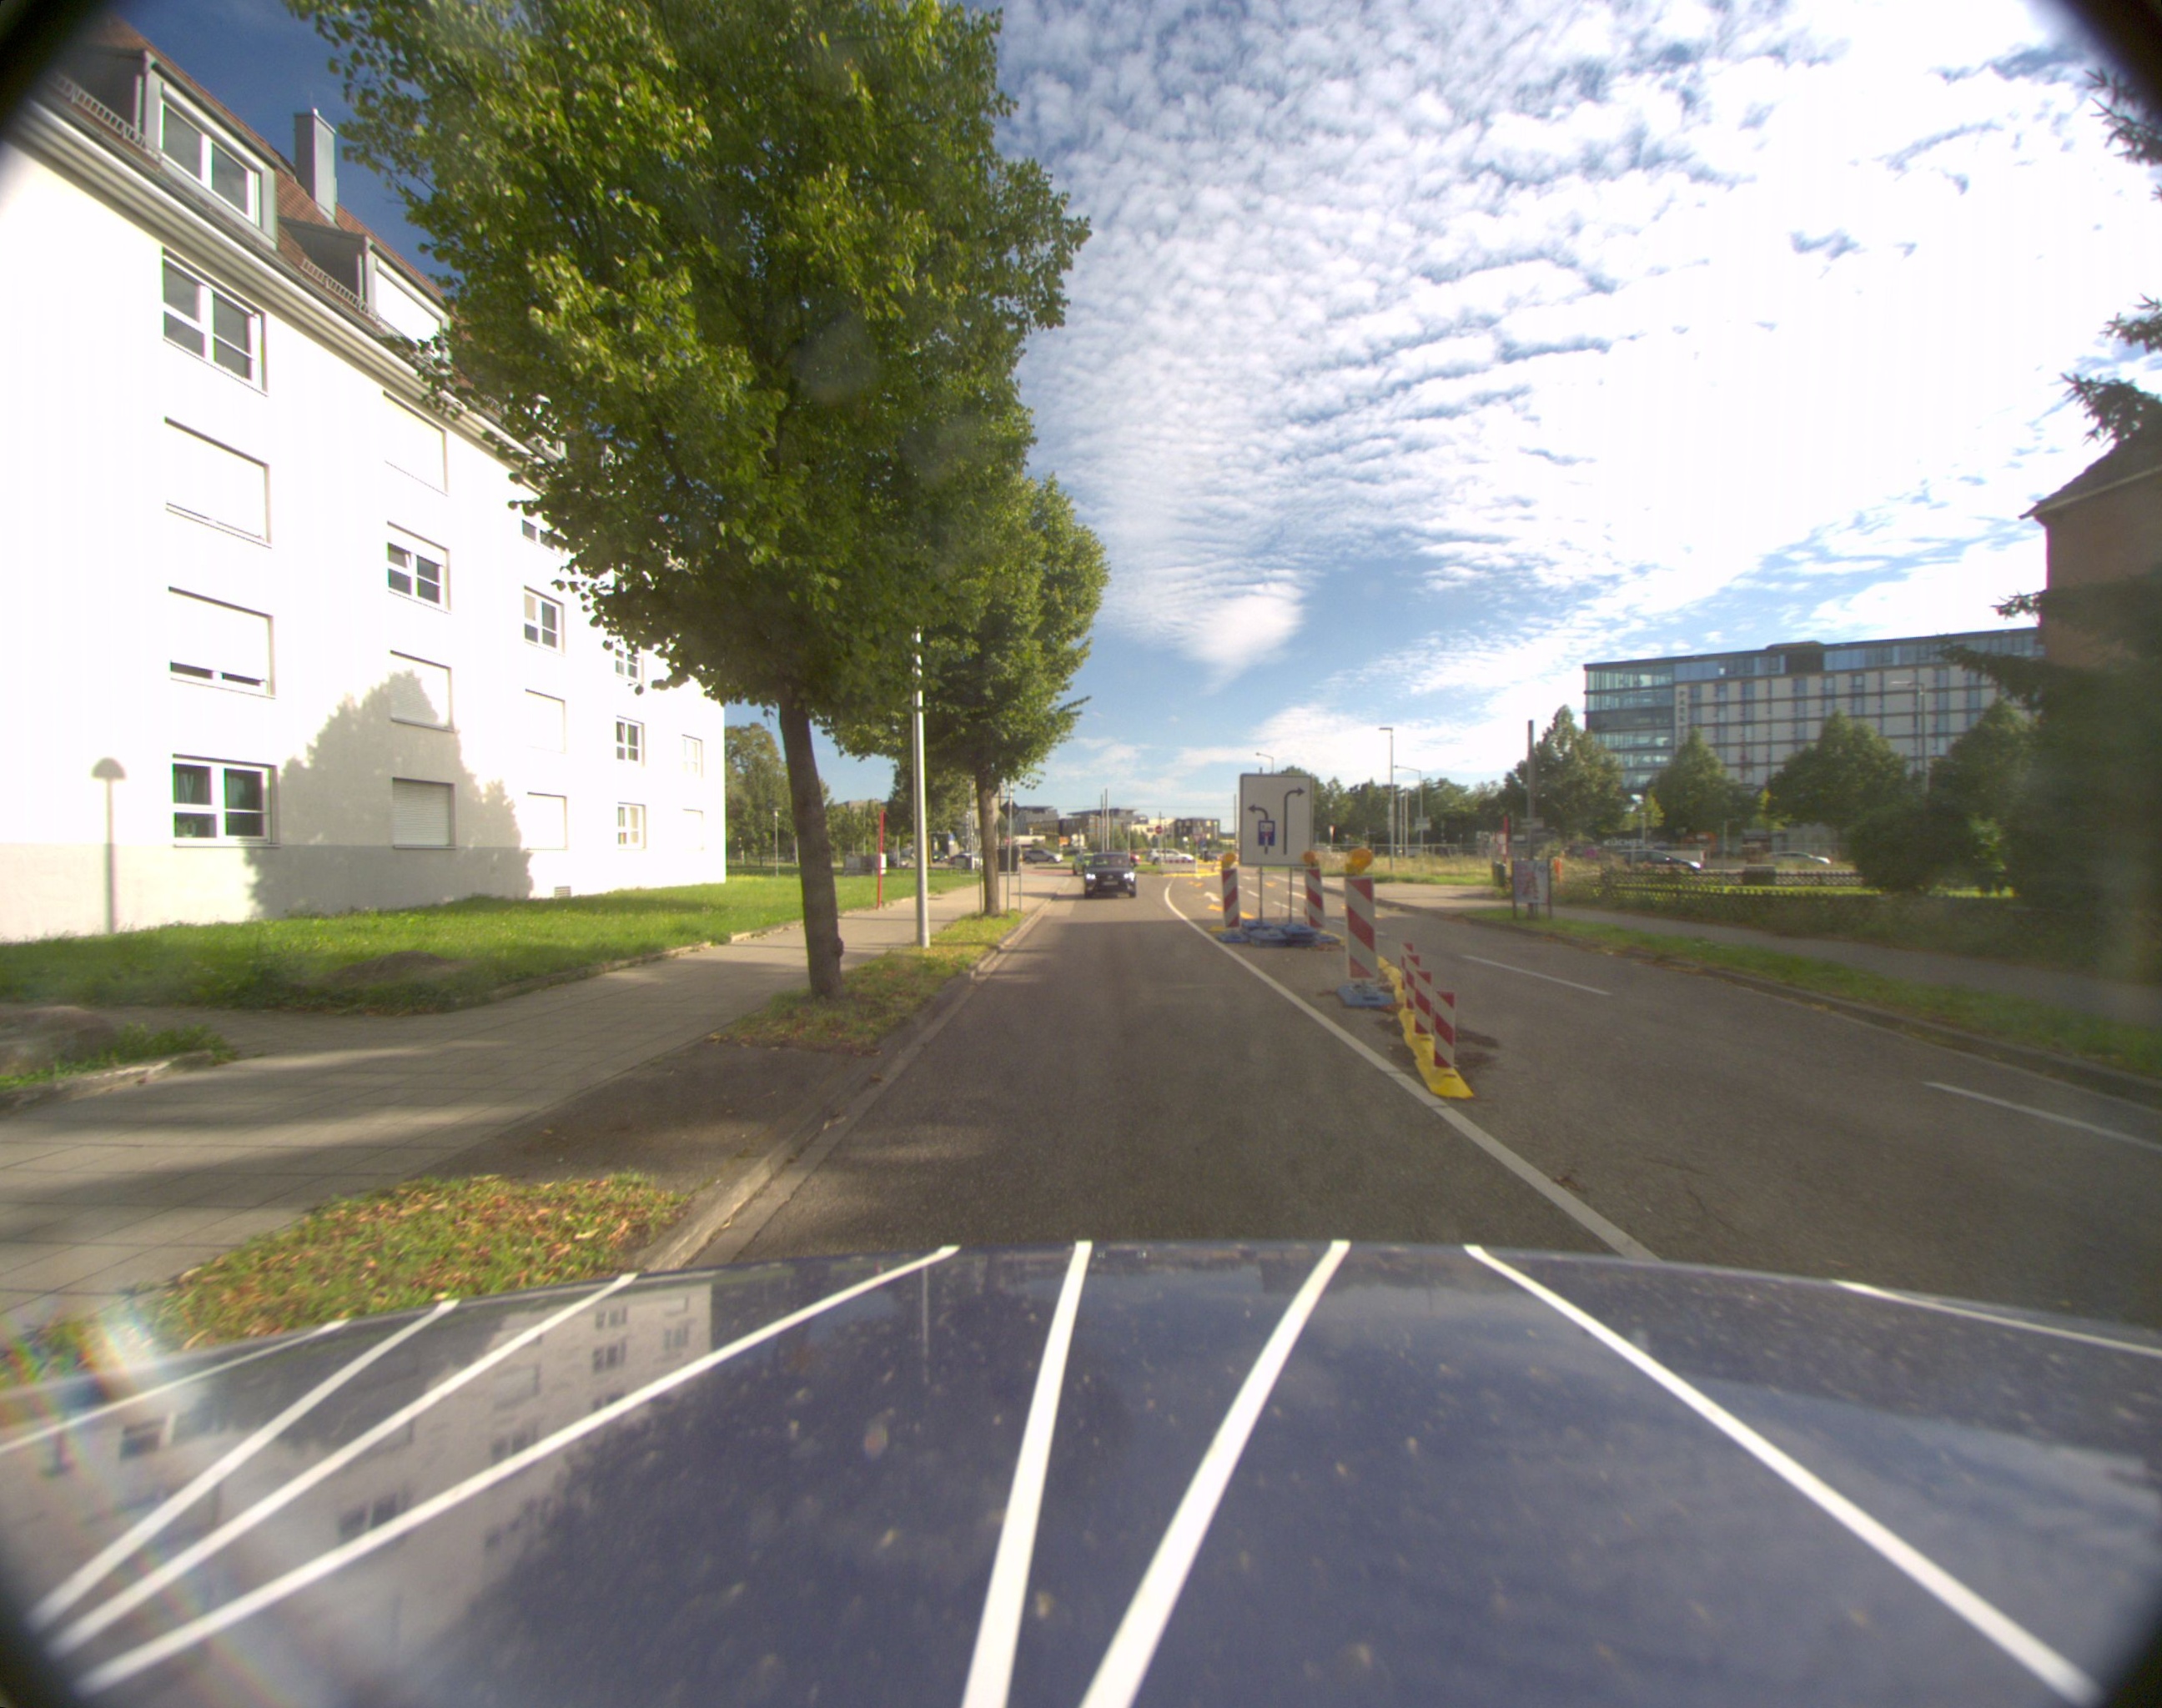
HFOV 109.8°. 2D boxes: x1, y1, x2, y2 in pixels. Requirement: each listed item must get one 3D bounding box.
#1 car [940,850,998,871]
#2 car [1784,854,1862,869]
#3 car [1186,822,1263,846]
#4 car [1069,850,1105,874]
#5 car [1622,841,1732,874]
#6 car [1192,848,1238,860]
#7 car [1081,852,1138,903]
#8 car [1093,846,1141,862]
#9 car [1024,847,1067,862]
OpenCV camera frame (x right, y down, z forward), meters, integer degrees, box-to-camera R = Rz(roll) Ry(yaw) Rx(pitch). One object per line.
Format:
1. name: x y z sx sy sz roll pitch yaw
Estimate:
1. car: -10.464 0.613 70.790 5.389 1.856 1.843 -1 2 31
2. car: 68.656 0.666 70.416 4.802 1.344 2.002 0 1 16
3. car: 12.266 -1.712 65.495 2.482 1.856 6.235 -3 2 -42
4. car: 0.341 0.497 51.687 2.041 1.461 5.986 -2 1 -3
5. car: 32.929 0.170 42.065 2.003 1.648 4.402 -2 1 -35
6. car: 15.227 -0.019 86.168 4.818 1.344 1.996 -1 1 -25
7. car: 1.048 0.765 27.077 1.821 1.648 4.243 -2 0 3
8. car: 3.875 -0.042 81.110 4.863 1.515 2.307 -1 1 6
9. car: -3.792 0.057 81.956 4.255 1.477 2.002 0 1 14
